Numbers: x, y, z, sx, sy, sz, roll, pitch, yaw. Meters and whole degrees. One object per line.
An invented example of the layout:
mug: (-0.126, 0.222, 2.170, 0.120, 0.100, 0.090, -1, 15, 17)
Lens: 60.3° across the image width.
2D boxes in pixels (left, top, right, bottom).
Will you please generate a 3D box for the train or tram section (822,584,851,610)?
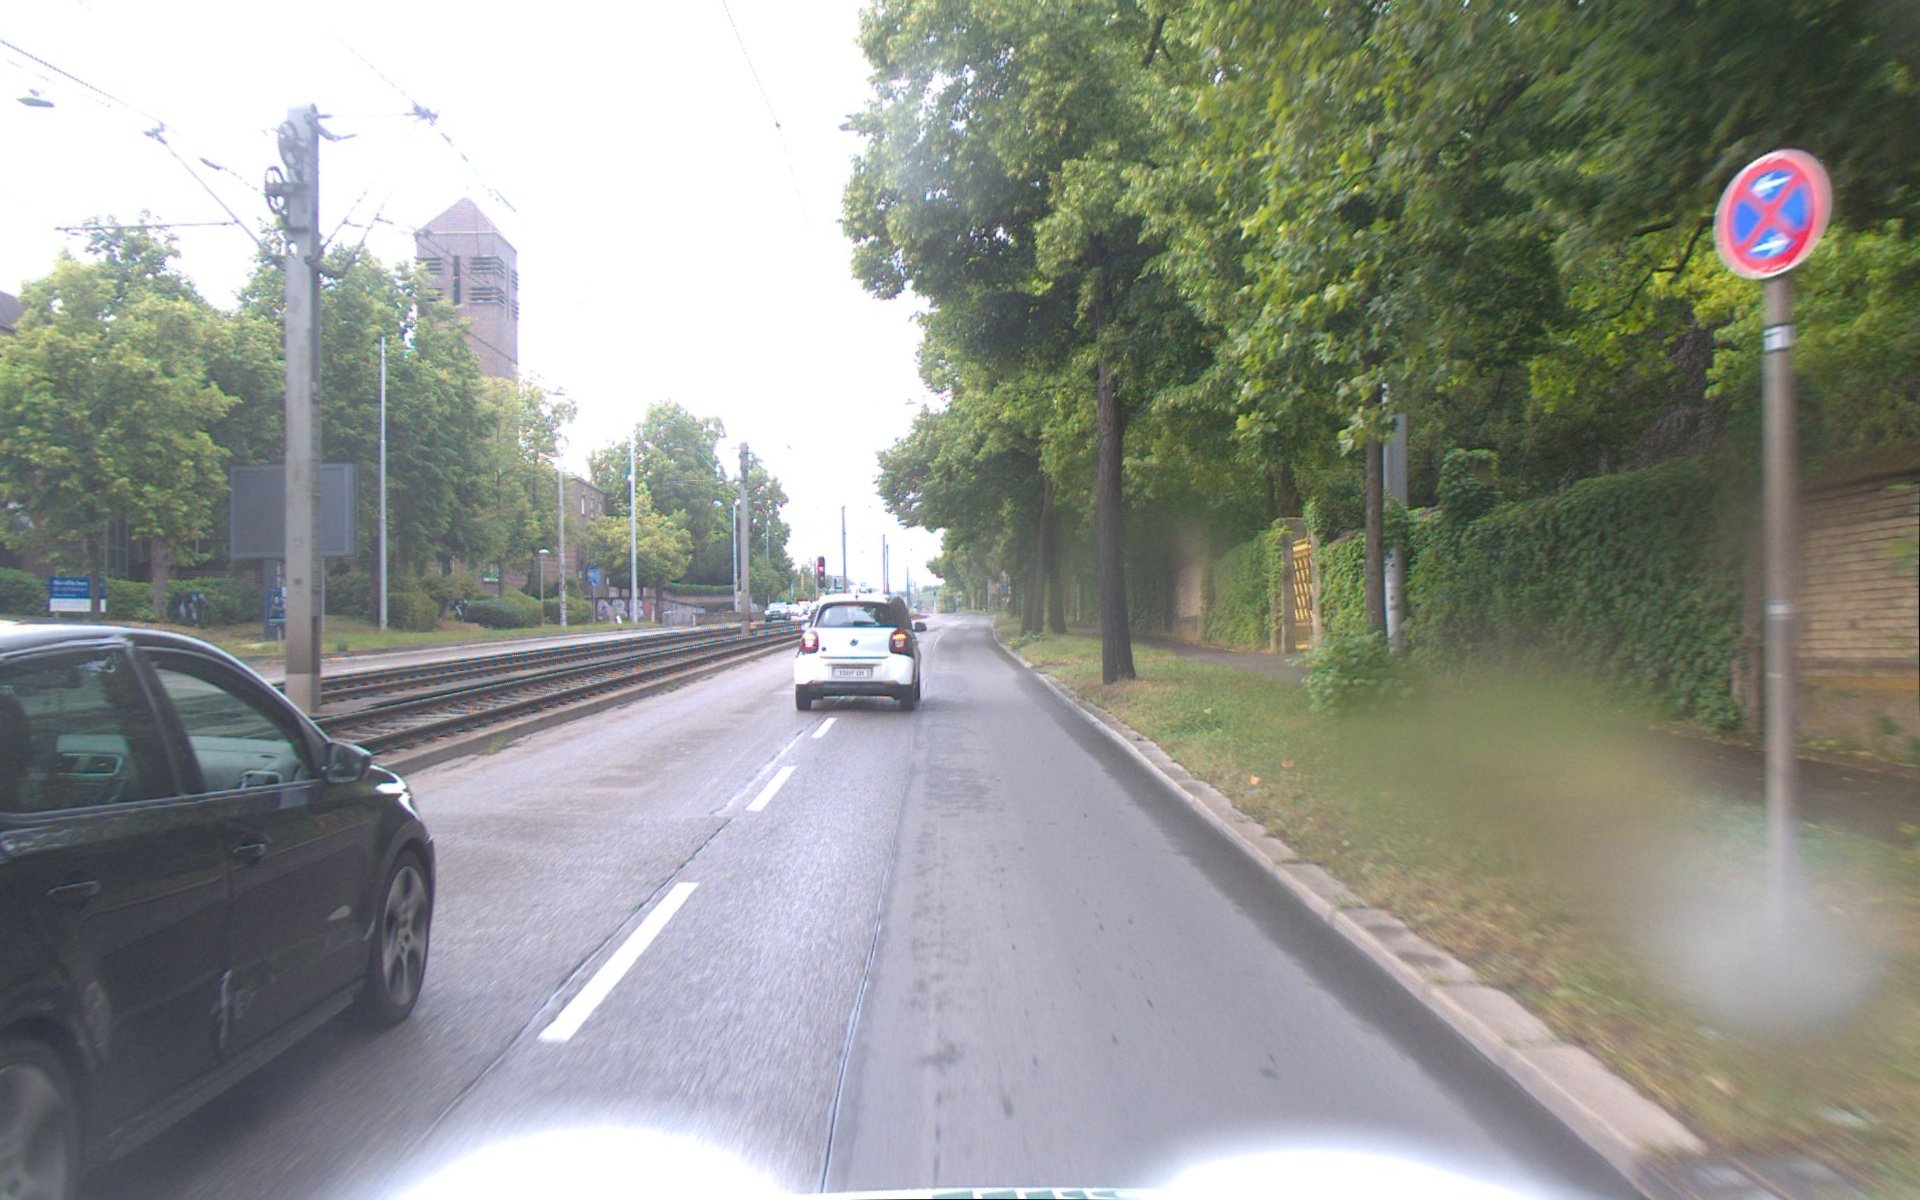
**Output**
train or tram section: (-18.019, -0.440, 240.877, 2.783, 3.668, 9.238, 0, 0, -13)

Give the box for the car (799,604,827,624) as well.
car: (-12.685, 1.221, 142.747, 1.796, 1.685, 4.241, -1, 0, 3)

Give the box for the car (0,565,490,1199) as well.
car: (-2.663, 0.703, 4.417, 1.758, 1.511, 3.963, -1, 0, -2)

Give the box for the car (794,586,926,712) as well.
car: (-1.344, 0.625, 23.475, 1.642, 1.557, 3.721, 3, 1, -1)

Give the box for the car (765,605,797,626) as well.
car: (-15.173, 1.293, 140.521, 1.970, 1.685, 4.619, -1, 0, 3)

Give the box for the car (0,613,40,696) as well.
car: (-19.012, 1.056, 30.364, 1.758, 1.557, 4.620, -1, 0, -2)
